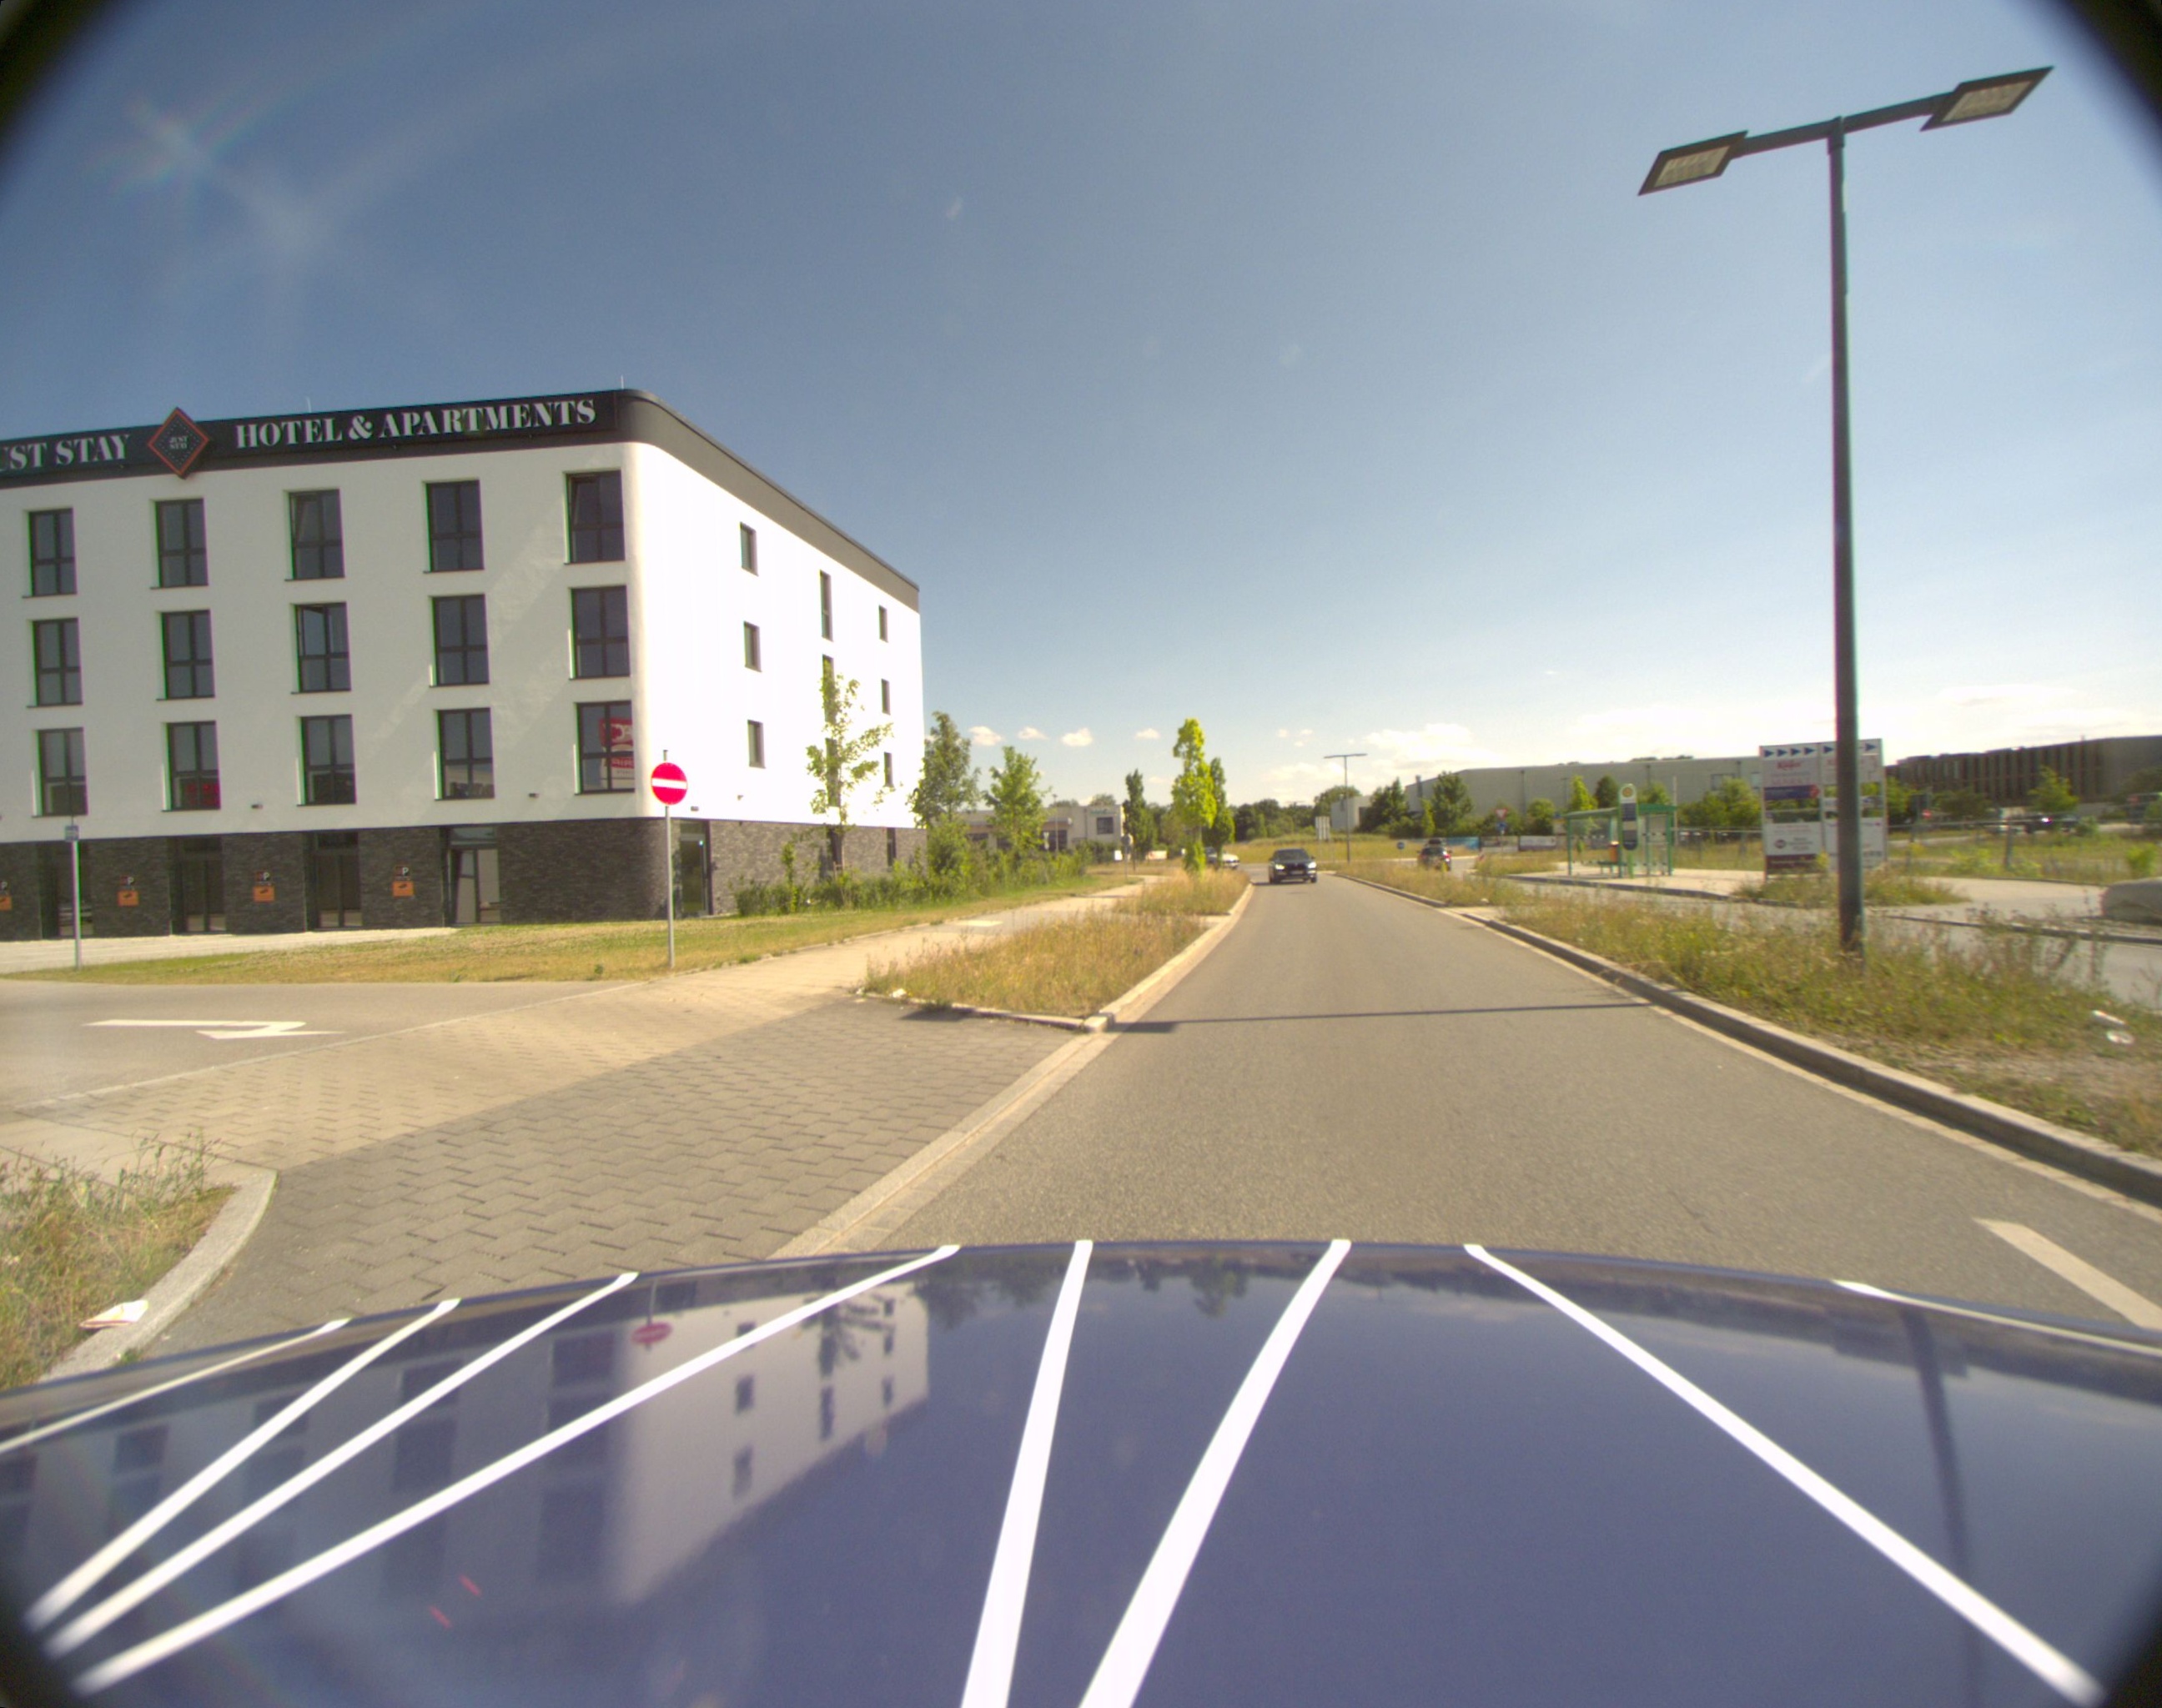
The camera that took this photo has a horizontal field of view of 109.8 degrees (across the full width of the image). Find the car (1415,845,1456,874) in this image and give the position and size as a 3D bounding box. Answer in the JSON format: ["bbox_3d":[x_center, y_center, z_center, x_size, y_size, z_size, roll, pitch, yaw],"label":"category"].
[{"bbox_3d":[20.780,0.299,44.673,1.995,1.508,4.202,-1,1,22],"label":"car"}]

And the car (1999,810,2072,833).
[{"bbox_3d":[84.665,-2.872,67.454,3.996,1.849,1.828,-2,2,3],"label":"car"}]

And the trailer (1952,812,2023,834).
[{"bbox_3d":[80.719,-2.763,67.713,3.996,1.849,1.828,-2,2,3],"label":"trailer"}]

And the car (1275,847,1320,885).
[{"bbox_3d":[10.094,0.528,35.648,1.839,1.565,4.004,-3,0,14],"label":"car"}]

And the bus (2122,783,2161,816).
[{"bbox_3d":[98.451,-4.953,66.029,11.556,2.720,2.580,-2,1,4],"label":"bus"}]

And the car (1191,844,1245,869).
[{"bbox_3d":[9.568,0.172,53.492,1.844,1.565,4.390,-4,2,-17],"label":"car"}]
